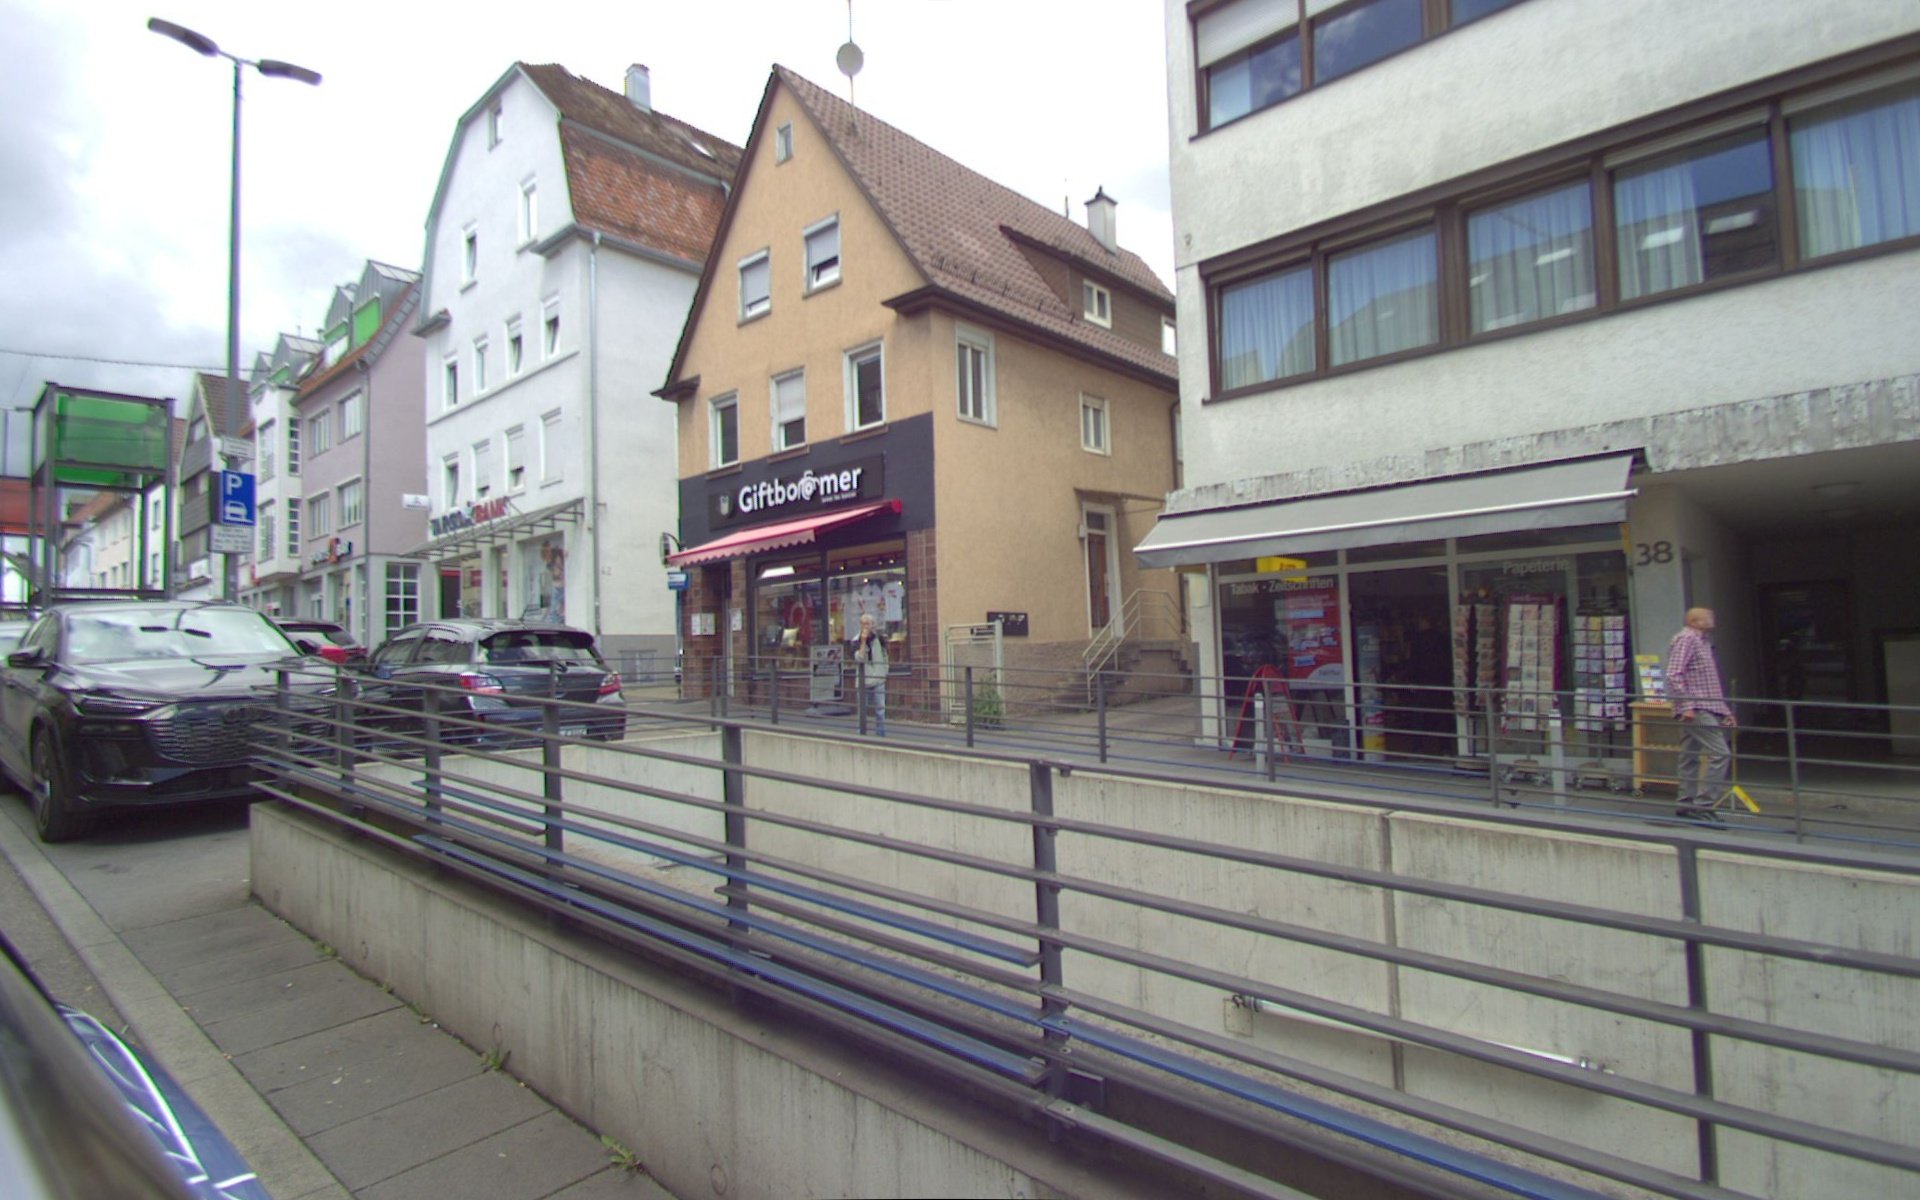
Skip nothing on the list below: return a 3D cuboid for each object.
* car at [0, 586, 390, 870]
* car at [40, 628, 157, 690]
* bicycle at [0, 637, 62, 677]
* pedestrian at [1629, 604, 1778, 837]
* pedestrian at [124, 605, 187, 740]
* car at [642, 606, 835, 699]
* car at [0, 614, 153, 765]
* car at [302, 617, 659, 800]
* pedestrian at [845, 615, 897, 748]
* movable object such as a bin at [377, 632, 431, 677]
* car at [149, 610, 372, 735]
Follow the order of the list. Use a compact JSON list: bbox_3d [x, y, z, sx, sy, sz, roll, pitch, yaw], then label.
[{"bbox_3d":[-6.395,0.775,8.046,4.312,1.652,1.936,-1,-1,41],"label":"car"},{"bbox_3d":[-22.296,1.481,26.155,3.851,1.486,1.553,-1,-3,38],"label":"car"},{"bbox_3d":[-29.276,1.760,31.622,0.459,1.232,1.760,-1,-3,40],"label":"bicycle"},{"bbox_3d":[5.832,0.902,7.951,0.632,1.702,0.828,3,-3,-44],"label":"pedestrian"},{"bbox_3d":[-10.497,0.922,13.202,0.901,1.685,0.527,-3,-3,44],"label":"pedestrian"},{"bbox_3d":[-5.125,1.160,23.743,1.883,1.887,4.026,-2,-1,43],"label":"car"},{"bbox_3d":[-11.070,0.973,12.104,3.669,1.544,1.603,-1,-1,41],"label":"car"},{"bbox_3d":[-4.902,0.980,10.146,3.881,1.487,1.721,-1,-5,40],"label":"car"},{"bbox_3d":[-1.182,1.065,13.377,0.635,1.702,0.667,0,-3,-9],"label":"pedestrian"},{"bbox_3d":[-17.995,1.749,32.761,1.067,1.387,1.270,-2,-2,41],"label":"movable object such as a bin"},{"bbox_3d":[-10.310,0.957,14.799,4.191,1.554,1.721,-1,-1,41],"label":"car"}]
